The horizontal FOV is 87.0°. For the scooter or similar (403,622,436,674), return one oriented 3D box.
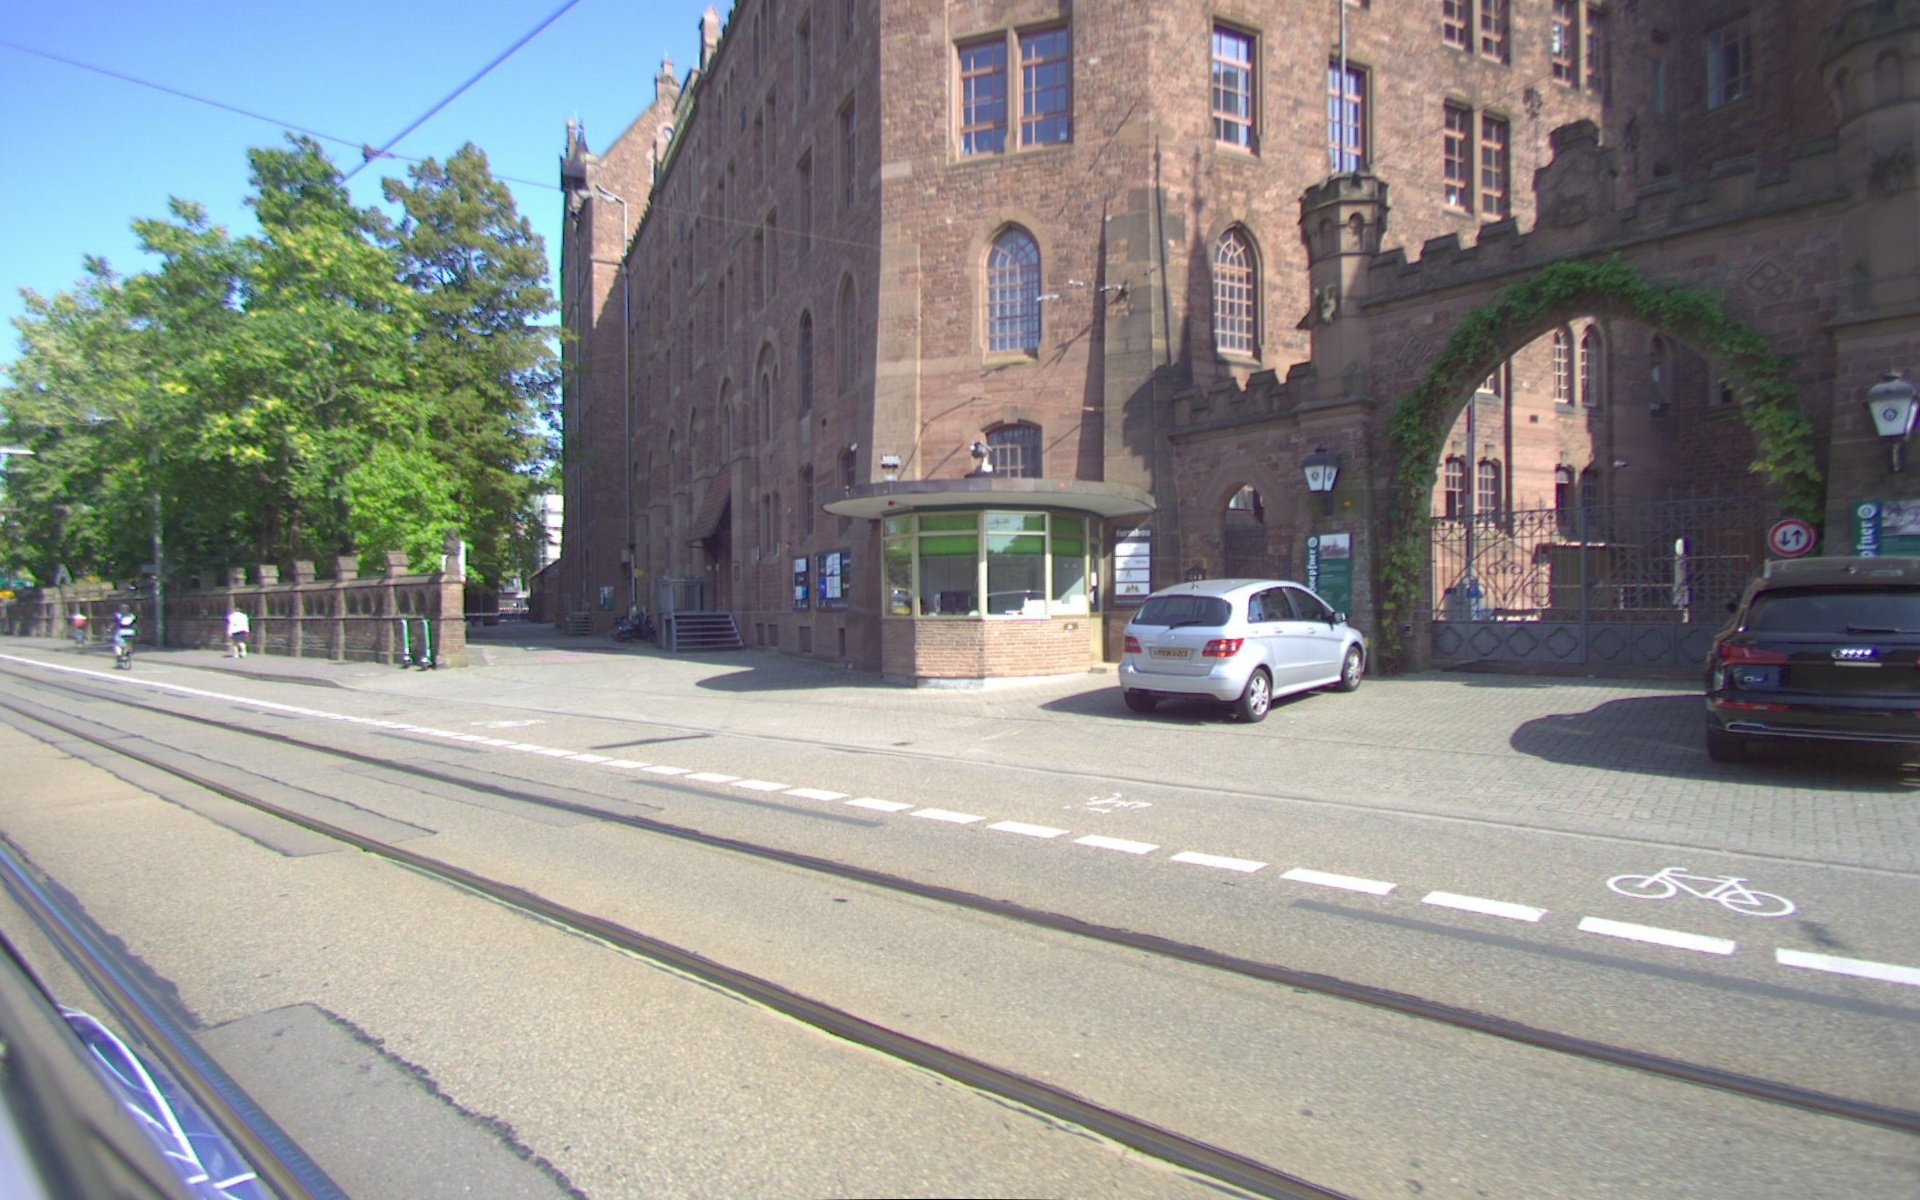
[{"bbox_3d":[-12.692,1.121,23.778,0.280,1.157,0.816,0,2,4],"label":"scooter or similar"}]

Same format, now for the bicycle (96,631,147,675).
[{"bbox_3d":[-23.550,1.463,28.411,2.035,1.167,0.690,0,-1,38],"label":"bicycle"}]

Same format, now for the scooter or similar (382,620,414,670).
[{"bbox_3d":[-13.639,1.078,24.570,0.280,1.157,0.816,0,2,4],"label":"scooter or similar"}]

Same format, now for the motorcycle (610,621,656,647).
[{"bbox_3d":[-12.890,1.334,39.887,1.669,1.009,0.584,0,0,-26],"label":"motorcycle"}]

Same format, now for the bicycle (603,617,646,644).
[{"bbox_3d":[-13.824,1.250,41.747,1.636,1.054,0.567,0,0,-14],"label":"bicycle"}]

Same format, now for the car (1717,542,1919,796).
[{"bbox_3d":[7.855,0.399,8.834,1.954,1.657,4.357,-1,3,37],"label":"car"}]

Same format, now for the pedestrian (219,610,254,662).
[{"bbox_3d":[-22.581,1.109,31.579,0.774,1.601,0.708,-1,-1,39],"label":"pedestrian"}]

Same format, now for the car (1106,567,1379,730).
[{"bbox_3d":[3.765,0.499,13.086,1.822,1.607,3.858,-1,3,42],"label":"car"}]

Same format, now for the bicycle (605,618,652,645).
[{"bbox_3d":[-13.354,1.265,40.805,1.747,1.054,0.666,0,0,-14],"label":"bicycle"}]

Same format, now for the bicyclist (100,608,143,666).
[{"bbox_3d":[-23.574,1.031,28.452,1.086,1.592,0.690,-1,-2,38],"label":"bicyclist"}]

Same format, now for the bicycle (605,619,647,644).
[{"bbox_3d":[-14.042,1.319,42.522,1.636,1.054,0.567,0,0,-14],"label":"bicycle"}]
